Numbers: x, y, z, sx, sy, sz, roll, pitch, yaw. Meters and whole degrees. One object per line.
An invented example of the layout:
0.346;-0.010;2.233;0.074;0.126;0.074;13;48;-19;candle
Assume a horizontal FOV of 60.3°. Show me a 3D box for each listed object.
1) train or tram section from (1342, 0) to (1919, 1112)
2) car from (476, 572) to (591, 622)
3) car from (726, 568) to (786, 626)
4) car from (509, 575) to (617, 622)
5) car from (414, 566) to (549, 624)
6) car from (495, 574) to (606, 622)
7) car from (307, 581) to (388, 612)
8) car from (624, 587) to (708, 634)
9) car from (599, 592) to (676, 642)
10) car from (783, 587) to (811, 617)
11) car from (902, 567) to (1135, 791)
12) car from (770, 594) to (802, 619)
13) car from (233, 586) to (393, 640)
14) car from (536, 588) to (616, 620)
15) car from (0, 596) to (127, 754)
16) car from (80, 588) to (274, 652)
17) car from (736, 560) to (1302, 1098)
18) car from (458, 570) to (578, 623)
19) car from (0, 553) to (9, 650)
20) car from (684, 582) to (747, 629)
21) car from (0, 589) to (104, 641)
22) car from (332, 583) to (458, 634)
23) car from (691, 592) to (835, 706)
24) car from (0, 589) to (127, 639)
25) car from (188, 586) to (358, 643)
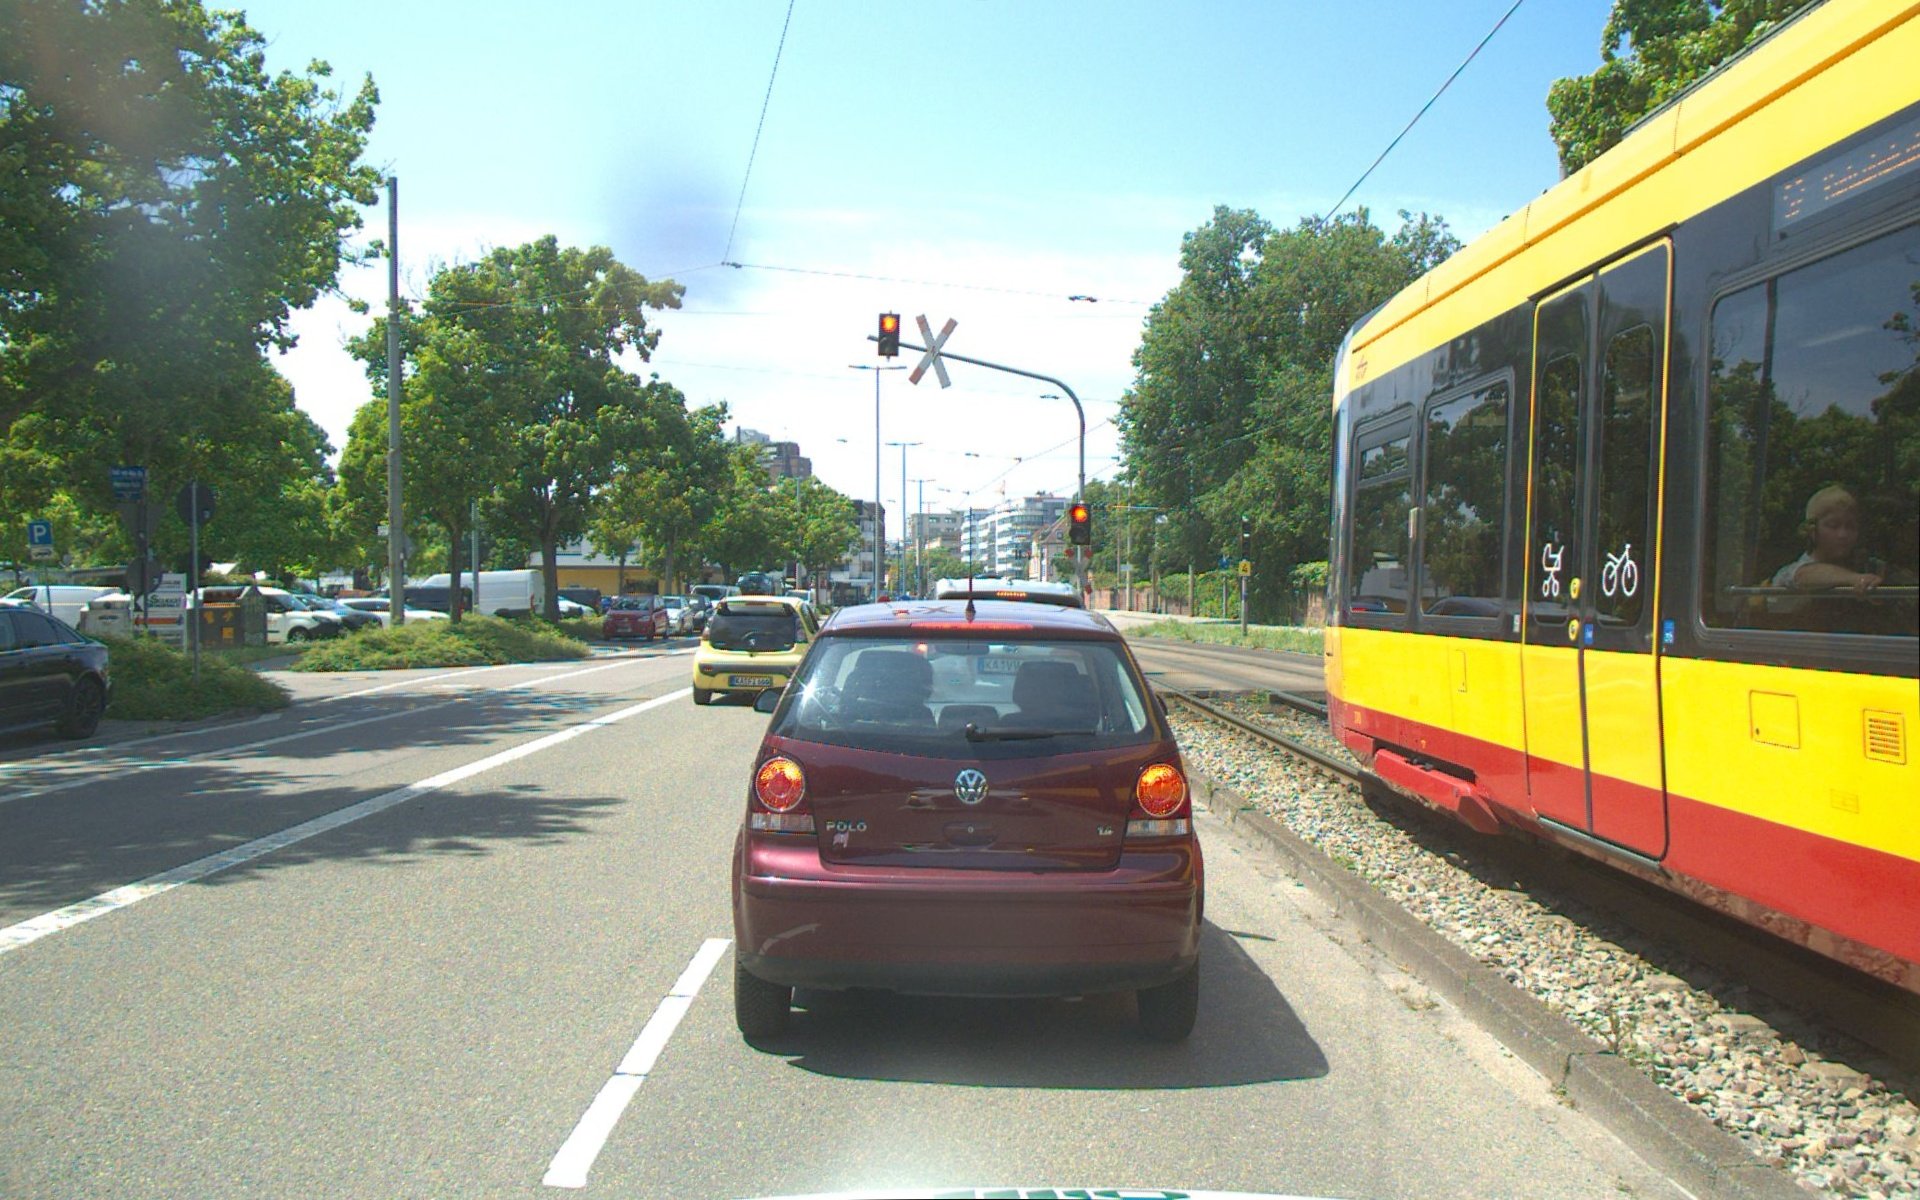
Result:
3.992;-0.413;5.692;2.685;3.672;10.949;2;0;0;train or tram section
-21.075;-0.125;81.943;4.993;2.283;2.378;2;-1;0;car
-10.310;-0.119;84.071;2.313;2.739;5.307;2;-1;0;car
-20.835;-0.072;87.012;4.993;2.283;2.378;2;-1;0;car
-20.371;-0.202;70.624;4.993;2.283;2.378;2;-1;0;car
-20.861;-0.096;84.418;4.993;2.283;2.378;2;-1;0;car
-35.331;-0.174;95.439;3.939;1.645;1.816;2;-1;-2;car
-10.739;0.396;60.767;1.934;1.629;4.560;2;-1;4;car
-10.543;0.554;54.233;1.628;1.523;4.000;2;-1;1;car
-10.598;0.155;107.347;1.741;1.860;3.995;2;-1;-6;car
0.394;0.592;14.642;1.741;1.676;3.999;1;0;-2;car
-10.620;0.416;100.978;1.582;1.466;3.998;2;-1;-2;car
-20.369;0.397;52.152;4.251;1.612;1.914;-1;0;5;car
-21.201;0.227;91.413;3.938;1.645;1.816;2;-1;0;car
-10.297;0.736;16.486;1.782;1.502;4.448;1;0;-1;car
-20.931;0.513;44.334;4.256;1.612;1.912;-1;0;-3;car
0.133;0.683;6.948;1.639;1.548;3.999;2;0;-2;car
-21.020;-0.152;78.756;4.993;2.283;2.378;2;-1;0;car
-33.104;-0.077;50.392;6.714;3.017;2.363;2;-1;-2;car
-10.452;0.255;71.024;1.746;1.914;4.787;2;-1;2;car
-32.458;0.506;57.955;3.913;1.682;1.812;2;-1;-9;car
-20.511;0.286;60.183;3.906;1.776;1.998;-1;0;-2;car
-2.705;0.630;23.359;1.656;1.435;3.514;1;0;-2;car
-32.834;0.515;60.358;3.913;1.682;1.812;2;-1;-9;car
-20.444;0.419;49.321;4.251;1.612;1.914;-1;0;5;car
